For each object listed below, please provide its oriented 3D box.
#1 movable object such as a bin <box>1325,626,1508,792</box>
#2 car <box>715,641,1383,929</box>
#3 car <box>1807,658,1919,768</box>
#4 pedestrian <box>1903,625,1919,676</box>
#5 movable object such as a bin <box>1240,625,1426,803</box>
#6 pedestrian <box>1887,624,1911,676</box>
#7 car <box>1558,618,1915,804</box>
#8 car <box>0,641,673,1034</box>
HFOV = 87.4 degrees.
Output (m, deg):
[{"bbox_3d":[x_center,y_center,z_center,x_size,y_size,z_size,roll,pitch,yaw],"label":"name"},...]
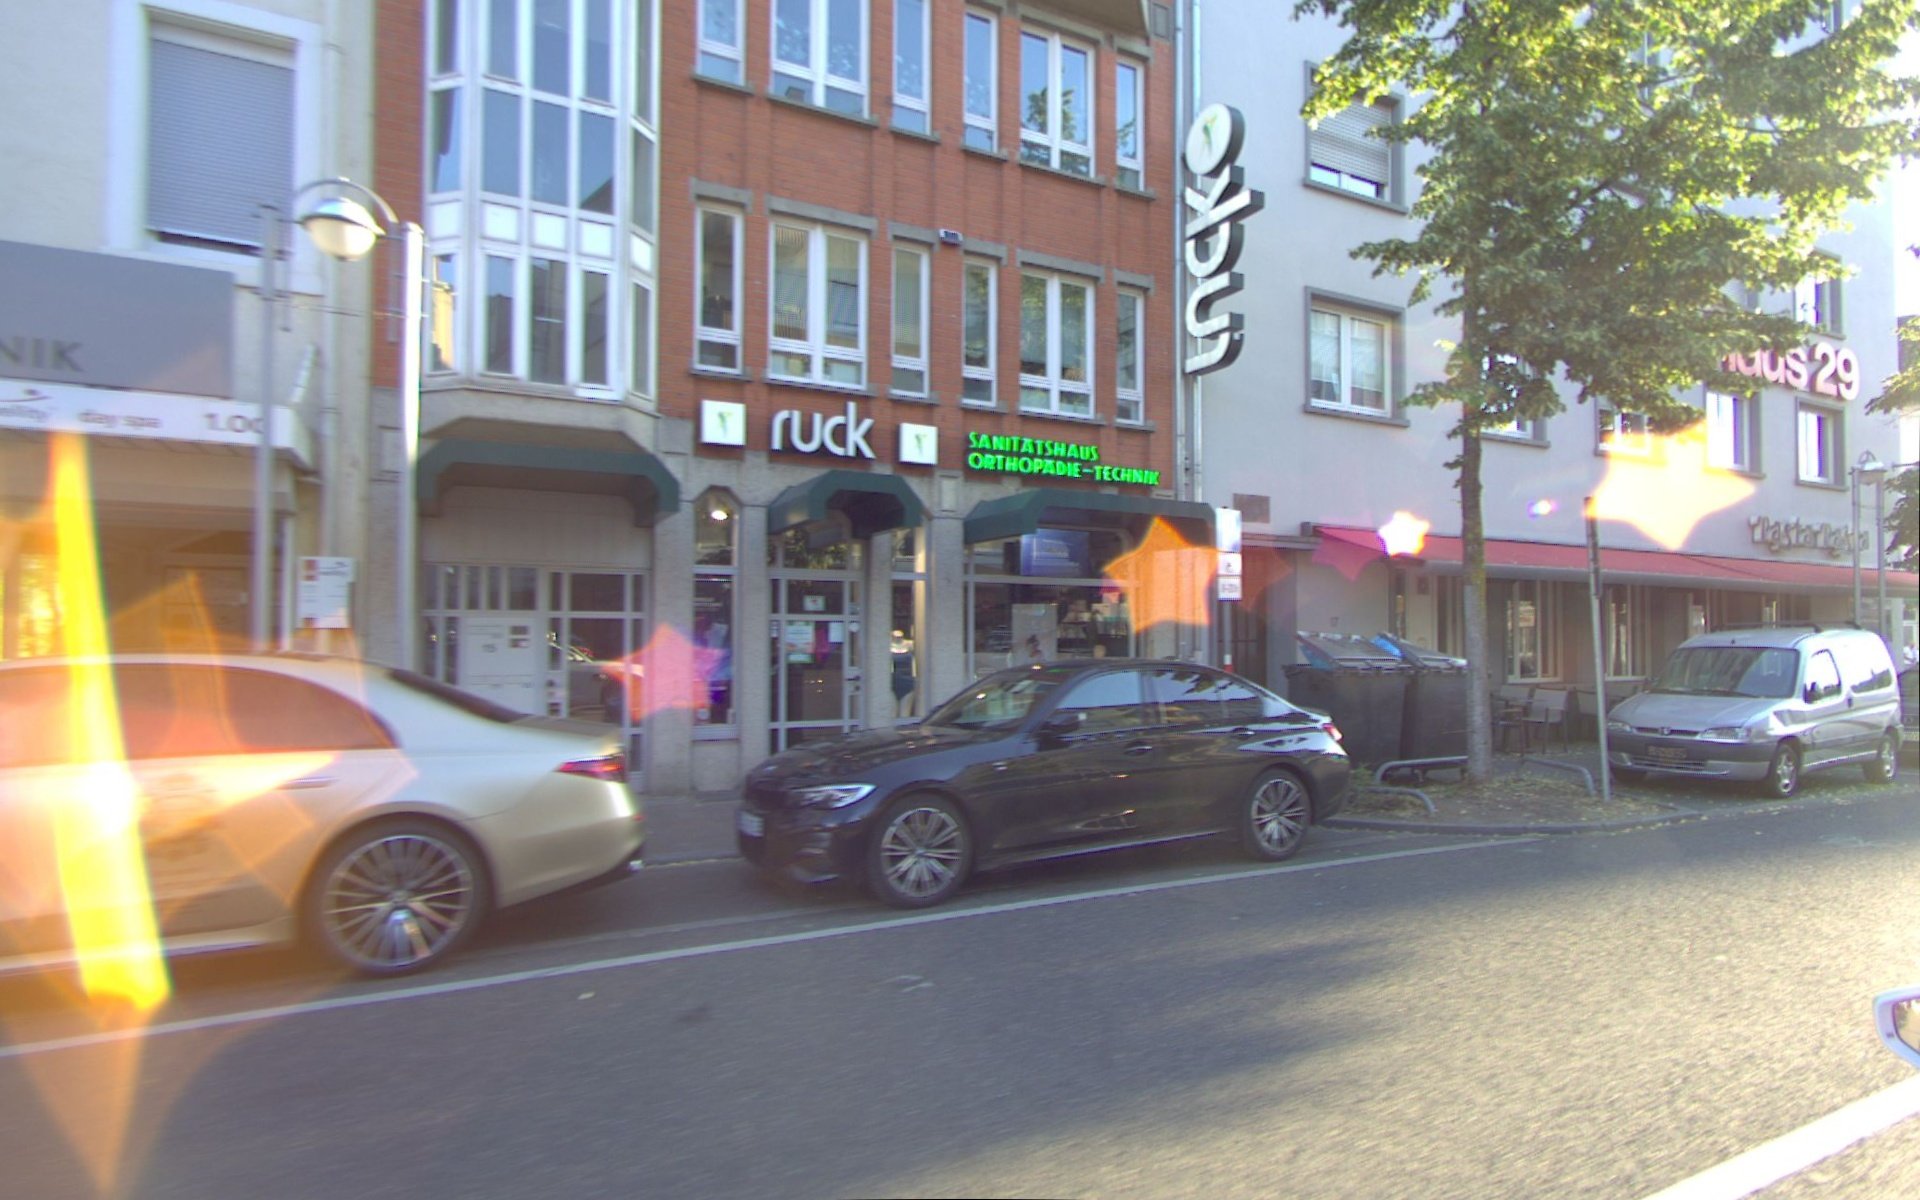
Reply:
[{"bbox_3d":[5.223,1.188,11.532,1.423,1.695,1.275,1,1,-29],"label":"movable object such as a bin"},{"bbox_3d":[0.721,1.079,7.335,4.580,1.530,1.908,1,-3,-28],"label":"car"},{"bbox_3d":[14.328,1.546,14.357,4.327,1.404,1.908,1,-3,-28],"label":"car"},{"bbox_3d":[36.607,1.925,38.459,0.520,1.954,0.639,-1,-2,27],"label":"pedestrian"},{"bbox_3d":[3.997,1.155,10.824,1.353,1.695,1.274,1,1,-29],"label":"movable object such as a bin"},{"bbox_3d":[36.049,1.916,38.577,0.487,1.954,0.575,-1,-2,28],"label":"pedestrian"},{"bbox_3d":[9.090,1.171,11.718,4.100,1.810,1.906,1,-3,-31],"label":"car"},{"bbox_3d":[-4.155,0.980,4.873,5.047,1.530,1.987,1,-3,-27],"label":"car"}]
